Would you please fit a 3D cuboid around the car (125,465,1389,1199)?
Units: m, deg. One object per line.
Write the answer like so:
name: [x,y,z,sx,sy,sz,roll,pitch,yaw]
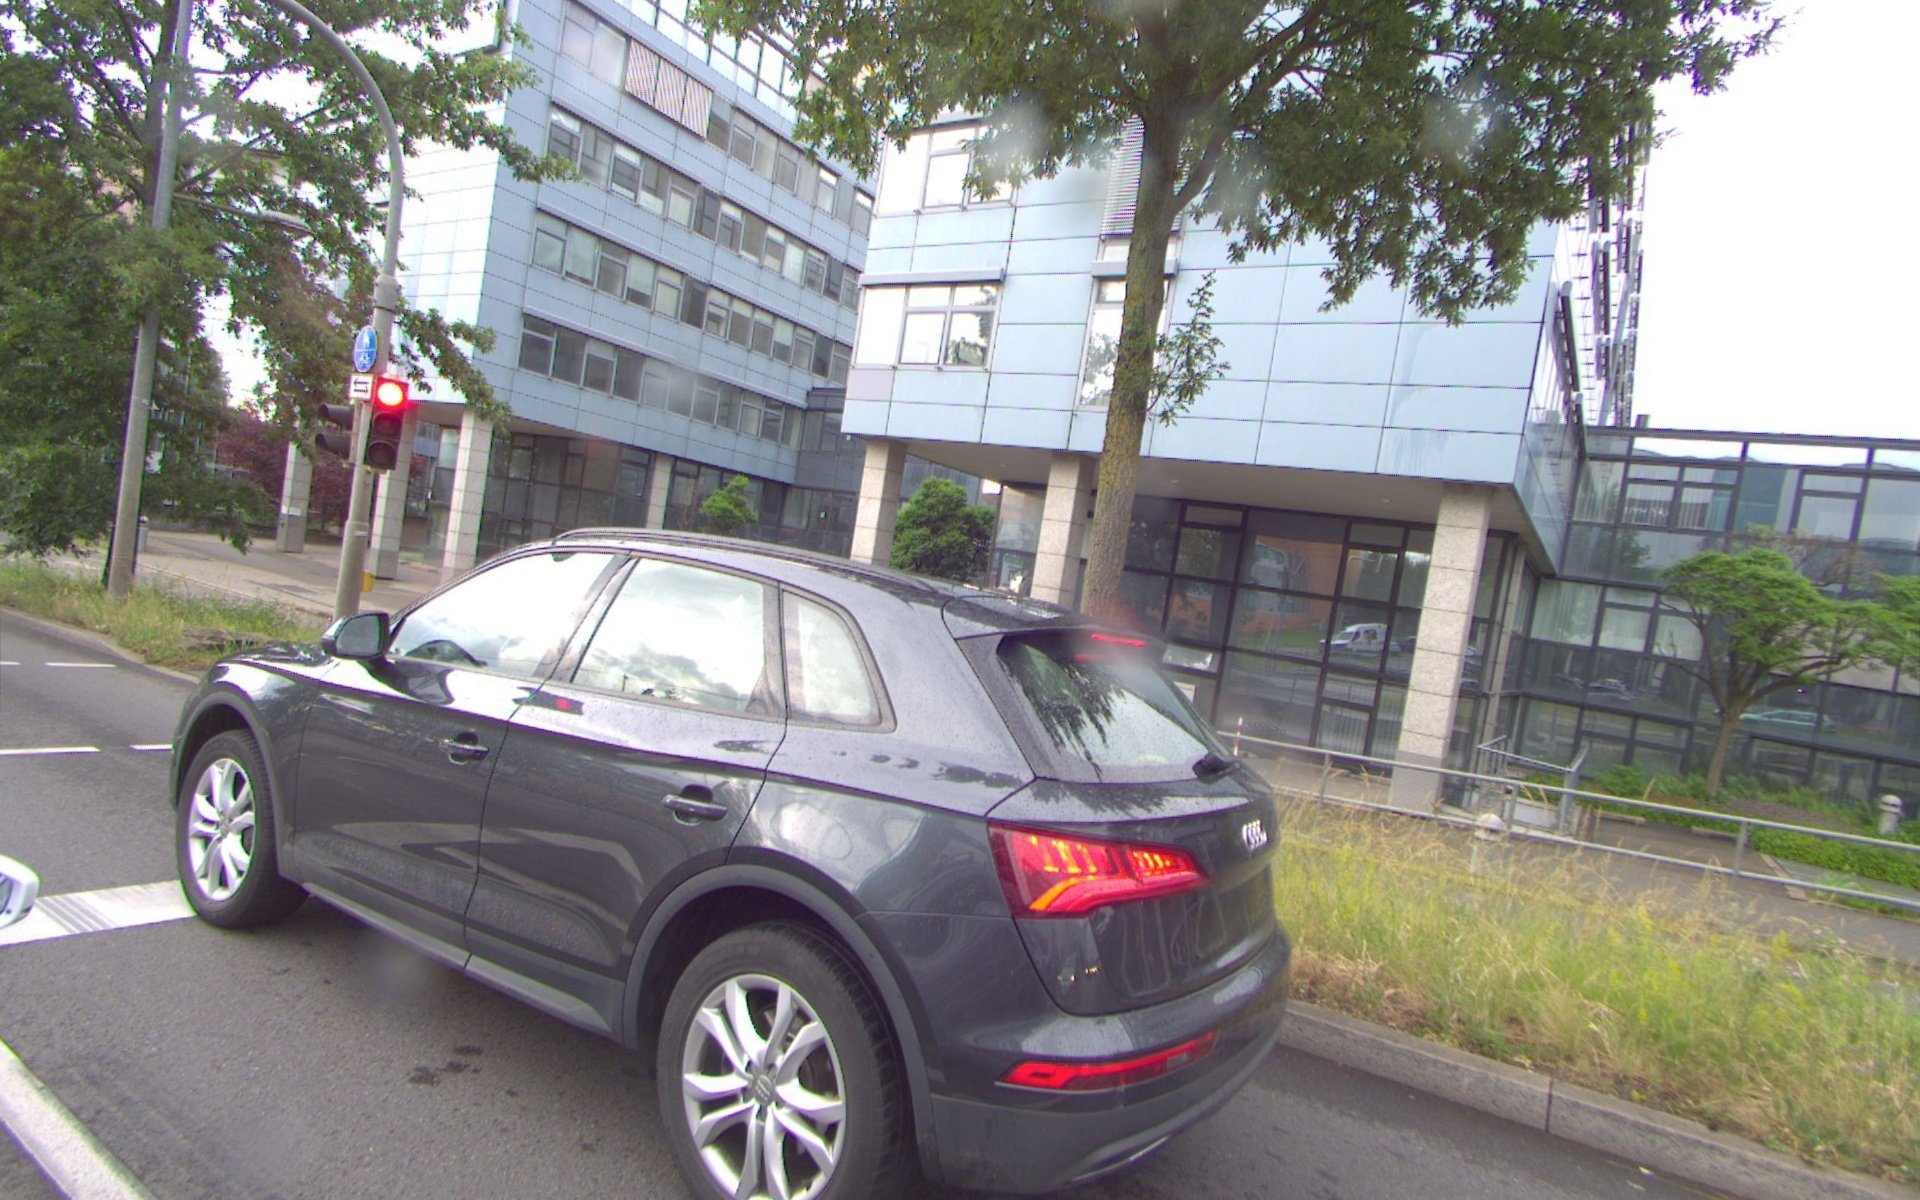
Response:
car: [-0.989,0.567,3.731,4.396,1.632,1.821,7,-1,32]
